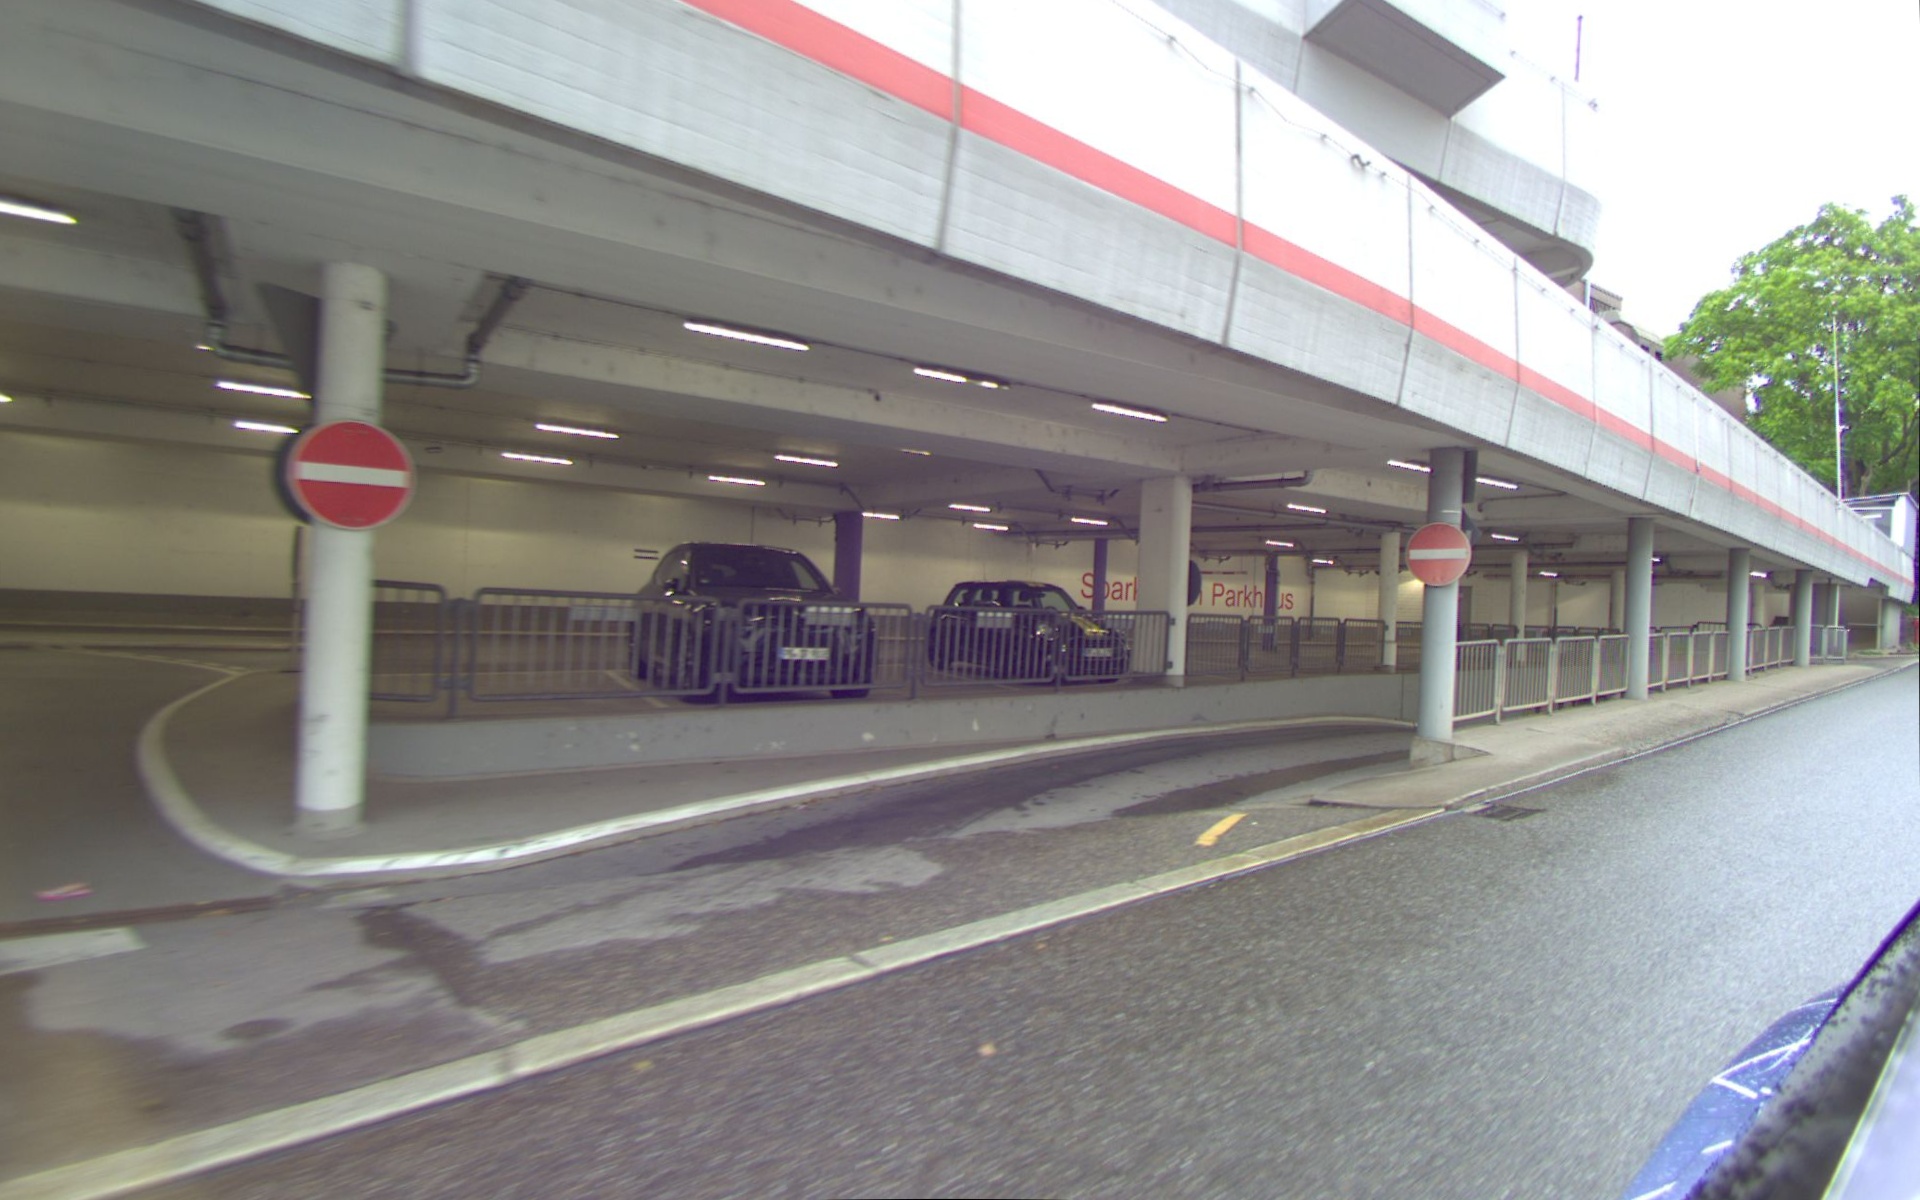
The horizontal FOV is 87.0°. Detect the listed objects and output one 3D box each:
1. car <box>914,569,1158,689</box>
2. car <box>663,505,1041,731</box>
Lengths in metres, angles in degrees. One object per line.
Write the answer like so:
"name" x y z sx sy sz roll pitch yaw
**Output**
"car" 1.007 0.359 15.181 1.771 1.524 3.739 2 1 -31
"car" -1.318 0.091 9.858 1.786 1.660 4.593 -1 1 -33
